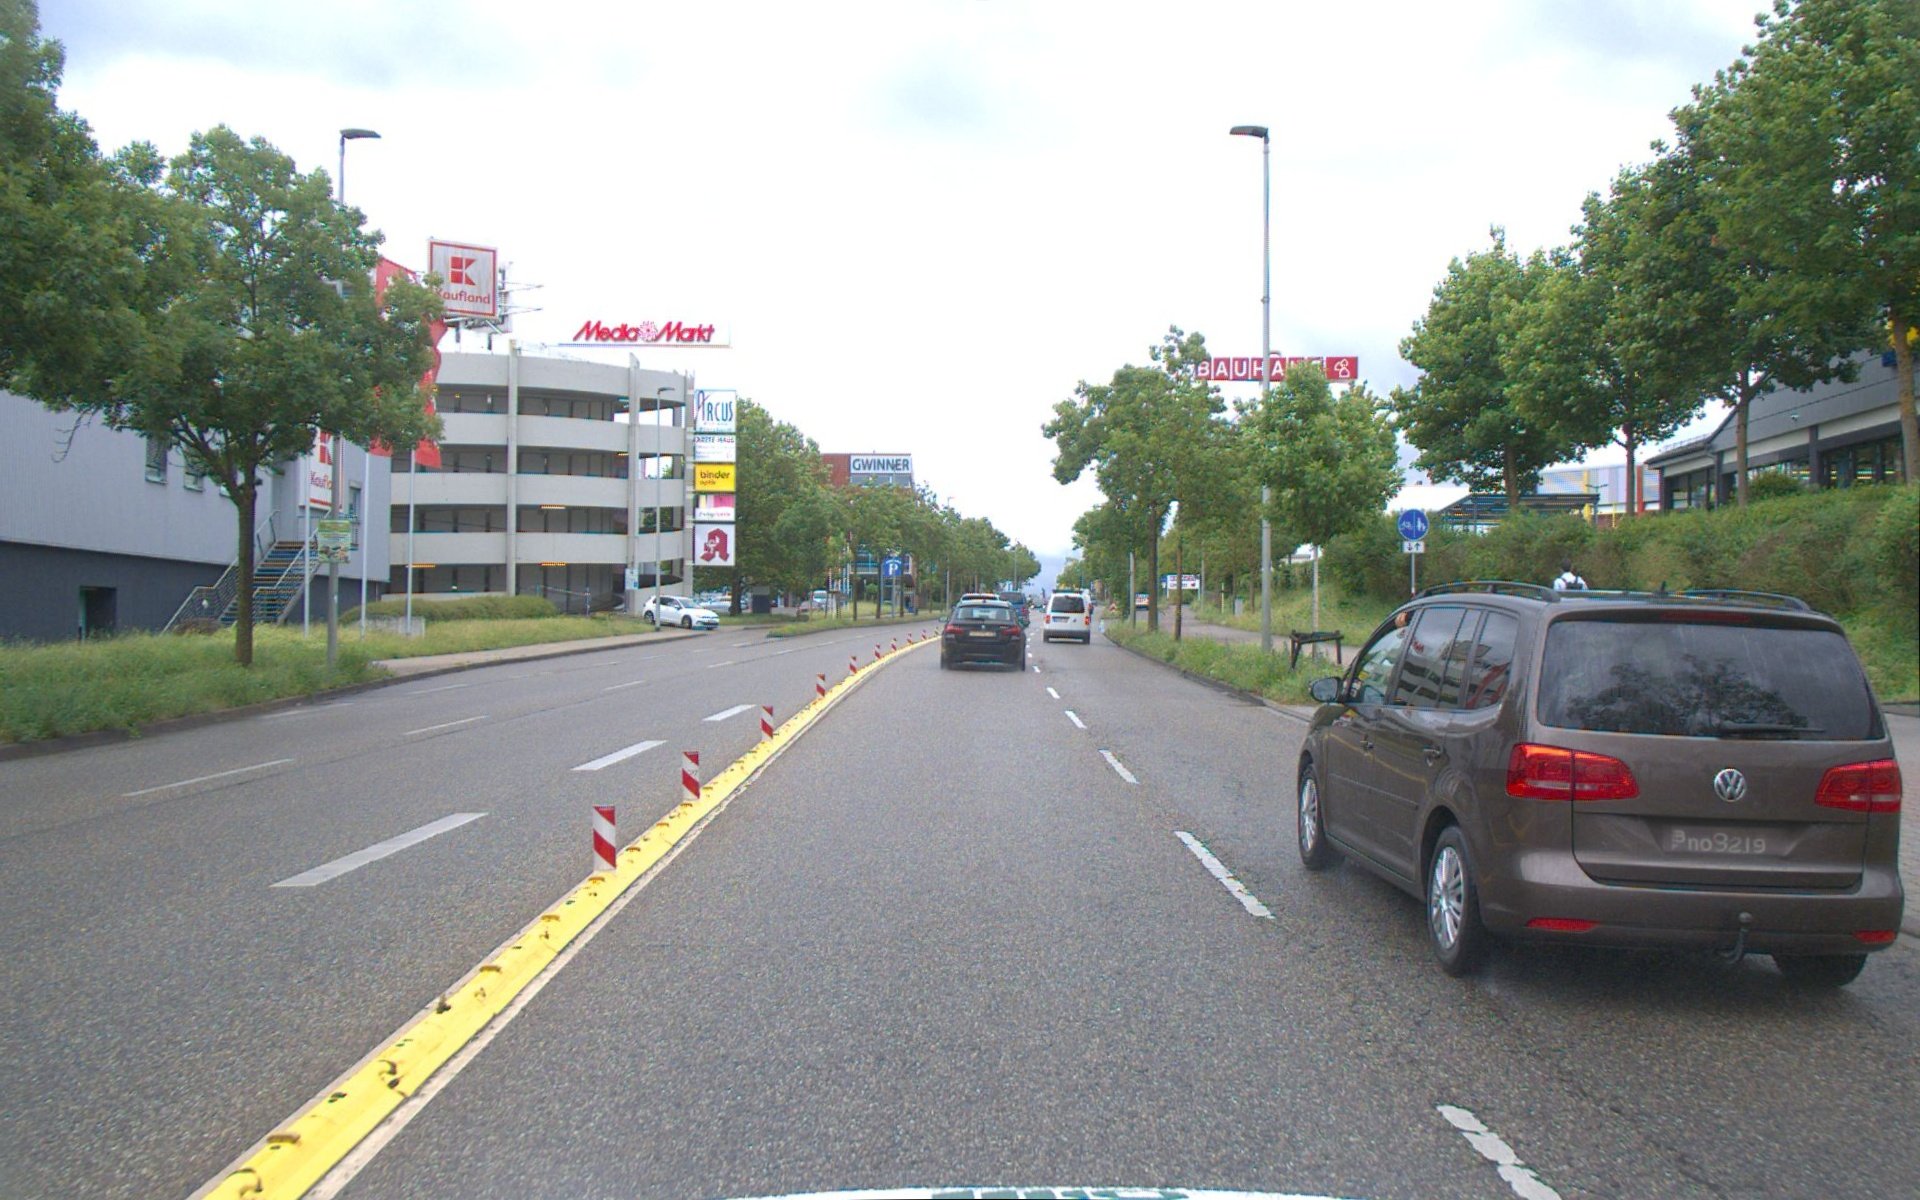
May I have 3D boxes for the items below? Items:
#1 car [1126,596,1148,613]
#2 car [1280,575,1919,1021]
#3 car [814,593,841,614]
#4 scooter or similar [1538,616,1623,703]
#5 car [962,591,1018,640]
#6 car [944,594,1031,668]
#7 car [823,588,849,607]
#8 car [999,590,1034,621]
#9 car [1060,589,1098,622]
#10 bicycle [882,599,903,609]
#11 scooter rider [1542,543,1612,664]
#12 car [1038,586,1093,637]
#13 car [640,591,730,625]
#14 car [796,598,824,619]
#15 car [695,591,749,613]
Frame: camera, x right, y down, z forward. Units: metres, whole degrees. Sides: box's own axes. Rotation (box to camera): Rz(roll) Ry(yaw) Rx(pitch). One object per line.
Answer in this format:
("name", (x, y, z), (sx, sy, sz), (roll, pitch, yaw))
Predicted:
("car", (17.139, 0.447, 160.212), (1.757, 1.537, 4.000), (2, -1, 1))
("car", (2.853, 0.710, 8.170), (1.651, 1.608, 4.218), (1, 0, -1))
("car", (-12.435, 0.277, 155.755), (1.997, 1.792, 4.947), (2, 1, 2))
("scooter or similar", (9.664, 0.911, 25.800), (0.681, 1.286, 1.399), (-1, 0, -5))
("car", (0.999, 0.522, 55.733), (1.757, 1.537, 4.000), (2, -1, 0))
("car", (0.590, 0.639, 36.198), (1.789, 1.494, 4.000), (0, 0, 0))
("car", (-13.237, -0.264, 176.671), (2.093, 1.804, 4.610), (2, 1, 3))
("car", (3.030, 0.321, 88.199), (1.757, 1.537, 4.001), (2, -1, 2))
("car", (5.833, 0.295, 81.446), (1.757, 1.537, 4.001), (2, -1, 3))
("bicycle", (-7.099, 0.427, 174.170), (2.033, 0.951, 1.094), (5, 0, 9))
("scooter rider", (9.636, 0.054, 25.847), (0.681, 1.852, 0.857), (-1, 0, -5))
("car", (3.918, 0.412, 61.891), (1.790, 1.789, 4.000), (2, 0, 0))
("car", (-13.440, 0.374, 80.700), (4.337, 1.432, 1.898), (2, 2, 37))
("car", (-12.808, 0.703, 141.320), (1.893, 1.636, 4.711), (2, 1, 0))
("car", (-21.093, 0.180, 146.495), (4.507, 1.776, 1.966), (2, 1, -4))
